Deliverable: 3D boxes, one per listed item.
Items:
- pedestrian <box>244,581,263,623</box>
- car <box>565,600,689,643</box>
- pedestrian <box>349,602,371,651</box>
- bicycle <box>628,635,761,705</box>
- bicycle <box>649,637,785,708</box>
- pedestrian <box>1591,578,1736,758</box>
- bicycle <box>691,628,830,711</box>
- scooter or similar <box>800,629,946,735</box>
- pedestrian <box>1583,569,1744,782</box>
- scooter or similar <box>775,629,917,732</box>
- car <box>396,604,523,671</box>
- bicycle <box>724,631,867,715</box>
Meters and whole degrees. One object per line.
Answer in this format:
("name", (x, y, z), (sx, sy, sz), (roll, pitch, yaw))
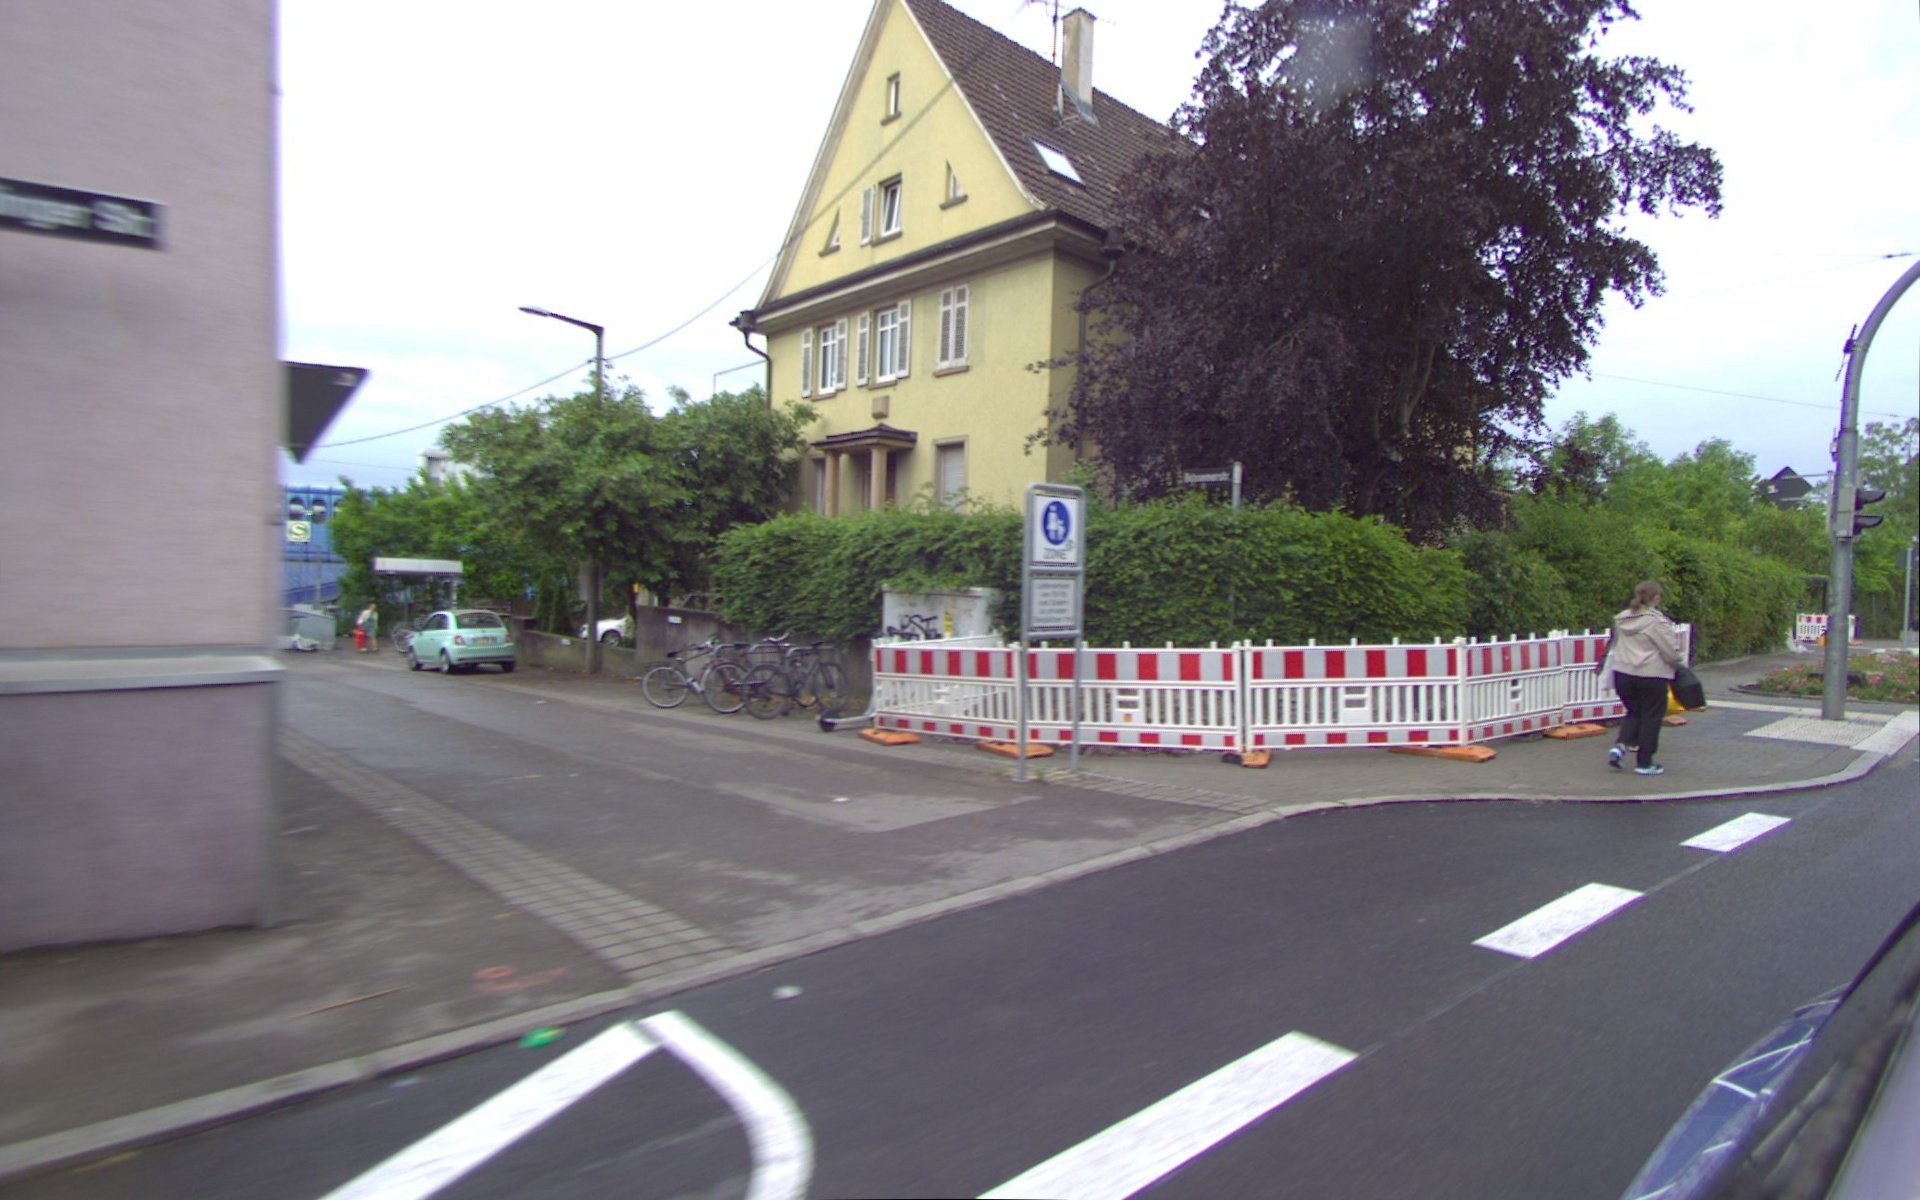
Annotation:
("pedestrian", (-26.291, 0.065, 37.667), (0.564, 1.542, 0.673), (0, 0, -35))
("car", (-12.074, 0.747, 36.806), (3.931, 1.493, 1.847), (0, -1, -42))
("pedestrian", (-19.344, 0.840, 32.632), (0.564, 1.542, 0.673), (0, 0, -35))
("bicycle", (-4.048, 1.048, 15.541), (1.993, 0.888, 0.427), (-2, 2, -42))
("bicycle", (-3.597, 1.054, 15.113), (1.993, 0.888, 0.427), (-2, 2, -42))
("pedestrian", (6.641, 0.589, 9.558), (1.030, 1.580, 0.877), (0, 1, -40))
("bicycle", (-2.809, 0.960, 14.450), (1.993, 1.009, 0.427), (-2, 2, -42))
("scooter or similar", (-0.975, 0.912, 11.702), (1.800, 1.093, 0.421), (0, -1, -43))
("pedestrian", (5.950, 0.578, 8.557), (1.200, 1.662, 0.786), (0, 1, -37))
("scooter or similar", (-1.348, 0.938, 12.226), (1.800, 1.114, 0.421), (0, -1, -43))
("car", (-12.441, 0.879, 25.046), (1.819, 1.493, 3.991), (0, -1, -42))
("bicycle", (-2.189, 0.958, 13.681), (1.993, 1.009, 0.427), (0, 0, -42))
